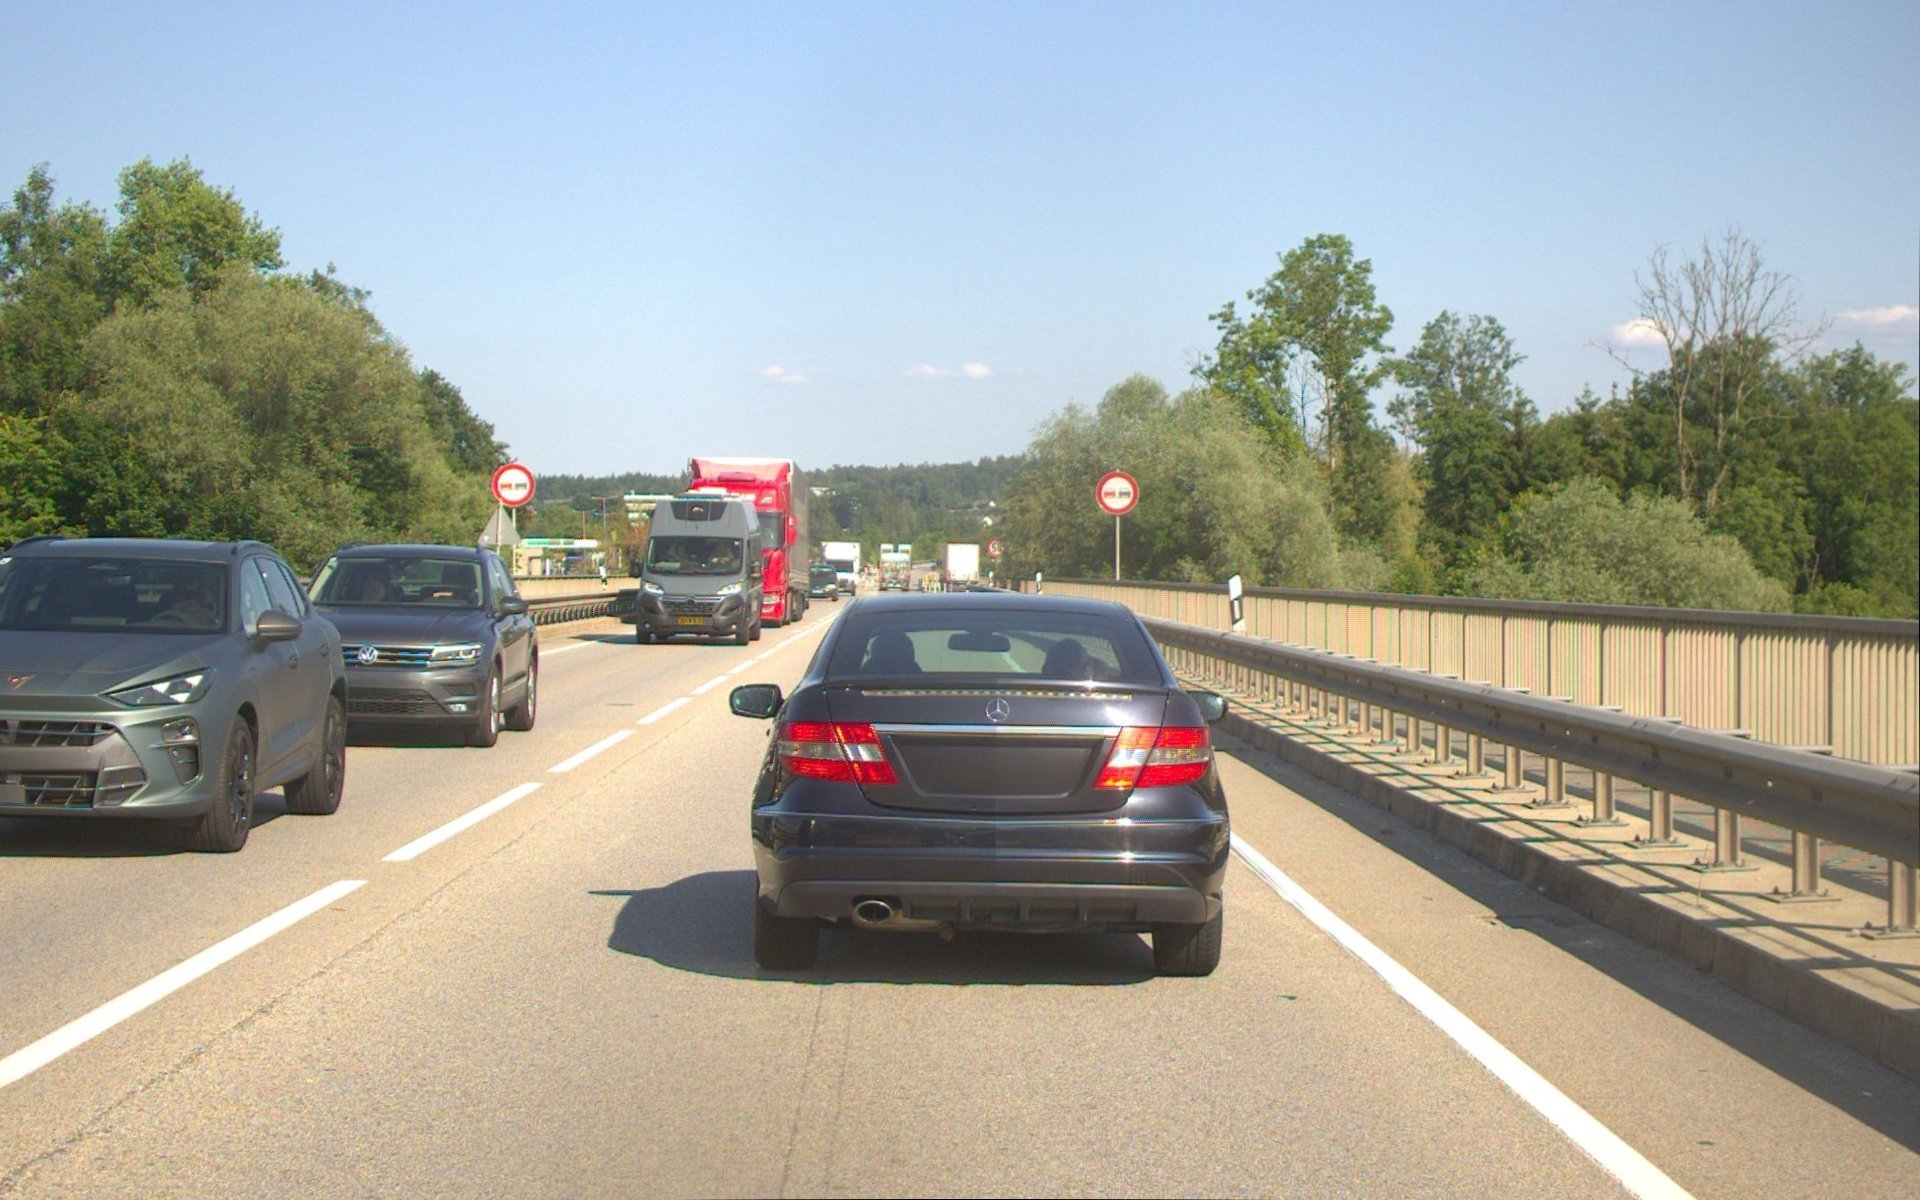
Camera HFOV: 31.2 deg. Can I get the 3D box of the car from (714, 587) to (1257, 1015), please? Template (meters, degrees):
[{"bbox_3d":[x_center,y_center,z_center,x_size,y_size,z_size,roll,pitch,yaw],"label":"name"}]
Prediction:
[{"bbox_3d":[0.097,0.667,13.531,1.793,1.371,4.000,1,1,0],"label":"car"}]

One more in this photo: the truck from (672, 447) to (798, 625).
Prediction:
[{"bbox_3d":[-5.529,-1.561,84.705,2.907,4.170,5.714,1,1,-4],"label":"truck"}]

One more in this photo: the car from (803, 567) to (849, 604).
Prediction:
[{"bbox_3d":[-6.207,-0.687,158.636,1.841,1.636,4.578,0,1,-6],"label":"car"}]

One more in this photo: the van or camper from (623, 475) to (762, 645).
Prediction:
[{"bbox_3d":[-4.990,-0.775,65.092,2.315,3.040,6.818,0,1,-2],"label":"van or camper"}]

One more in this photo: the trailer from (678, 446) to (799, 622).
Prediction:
[{"bbox_3d":[-6.064,-1.716,92.198,2.907,4.287,14.304,1,1,-5],"label":"trailer"}]

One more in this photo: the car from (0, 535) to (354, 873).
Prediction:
[{"bbox_3d":[-4.473,0.458,18.292,1.806,1.572,4.201,1,1,-1],"label":"car"}]

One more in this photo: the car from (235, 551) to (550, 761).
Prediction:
[{"bbox_3d":[-4.631,0.410,28.641,1.874,1.578,4.274,1,1,0],"label":"car"}]
